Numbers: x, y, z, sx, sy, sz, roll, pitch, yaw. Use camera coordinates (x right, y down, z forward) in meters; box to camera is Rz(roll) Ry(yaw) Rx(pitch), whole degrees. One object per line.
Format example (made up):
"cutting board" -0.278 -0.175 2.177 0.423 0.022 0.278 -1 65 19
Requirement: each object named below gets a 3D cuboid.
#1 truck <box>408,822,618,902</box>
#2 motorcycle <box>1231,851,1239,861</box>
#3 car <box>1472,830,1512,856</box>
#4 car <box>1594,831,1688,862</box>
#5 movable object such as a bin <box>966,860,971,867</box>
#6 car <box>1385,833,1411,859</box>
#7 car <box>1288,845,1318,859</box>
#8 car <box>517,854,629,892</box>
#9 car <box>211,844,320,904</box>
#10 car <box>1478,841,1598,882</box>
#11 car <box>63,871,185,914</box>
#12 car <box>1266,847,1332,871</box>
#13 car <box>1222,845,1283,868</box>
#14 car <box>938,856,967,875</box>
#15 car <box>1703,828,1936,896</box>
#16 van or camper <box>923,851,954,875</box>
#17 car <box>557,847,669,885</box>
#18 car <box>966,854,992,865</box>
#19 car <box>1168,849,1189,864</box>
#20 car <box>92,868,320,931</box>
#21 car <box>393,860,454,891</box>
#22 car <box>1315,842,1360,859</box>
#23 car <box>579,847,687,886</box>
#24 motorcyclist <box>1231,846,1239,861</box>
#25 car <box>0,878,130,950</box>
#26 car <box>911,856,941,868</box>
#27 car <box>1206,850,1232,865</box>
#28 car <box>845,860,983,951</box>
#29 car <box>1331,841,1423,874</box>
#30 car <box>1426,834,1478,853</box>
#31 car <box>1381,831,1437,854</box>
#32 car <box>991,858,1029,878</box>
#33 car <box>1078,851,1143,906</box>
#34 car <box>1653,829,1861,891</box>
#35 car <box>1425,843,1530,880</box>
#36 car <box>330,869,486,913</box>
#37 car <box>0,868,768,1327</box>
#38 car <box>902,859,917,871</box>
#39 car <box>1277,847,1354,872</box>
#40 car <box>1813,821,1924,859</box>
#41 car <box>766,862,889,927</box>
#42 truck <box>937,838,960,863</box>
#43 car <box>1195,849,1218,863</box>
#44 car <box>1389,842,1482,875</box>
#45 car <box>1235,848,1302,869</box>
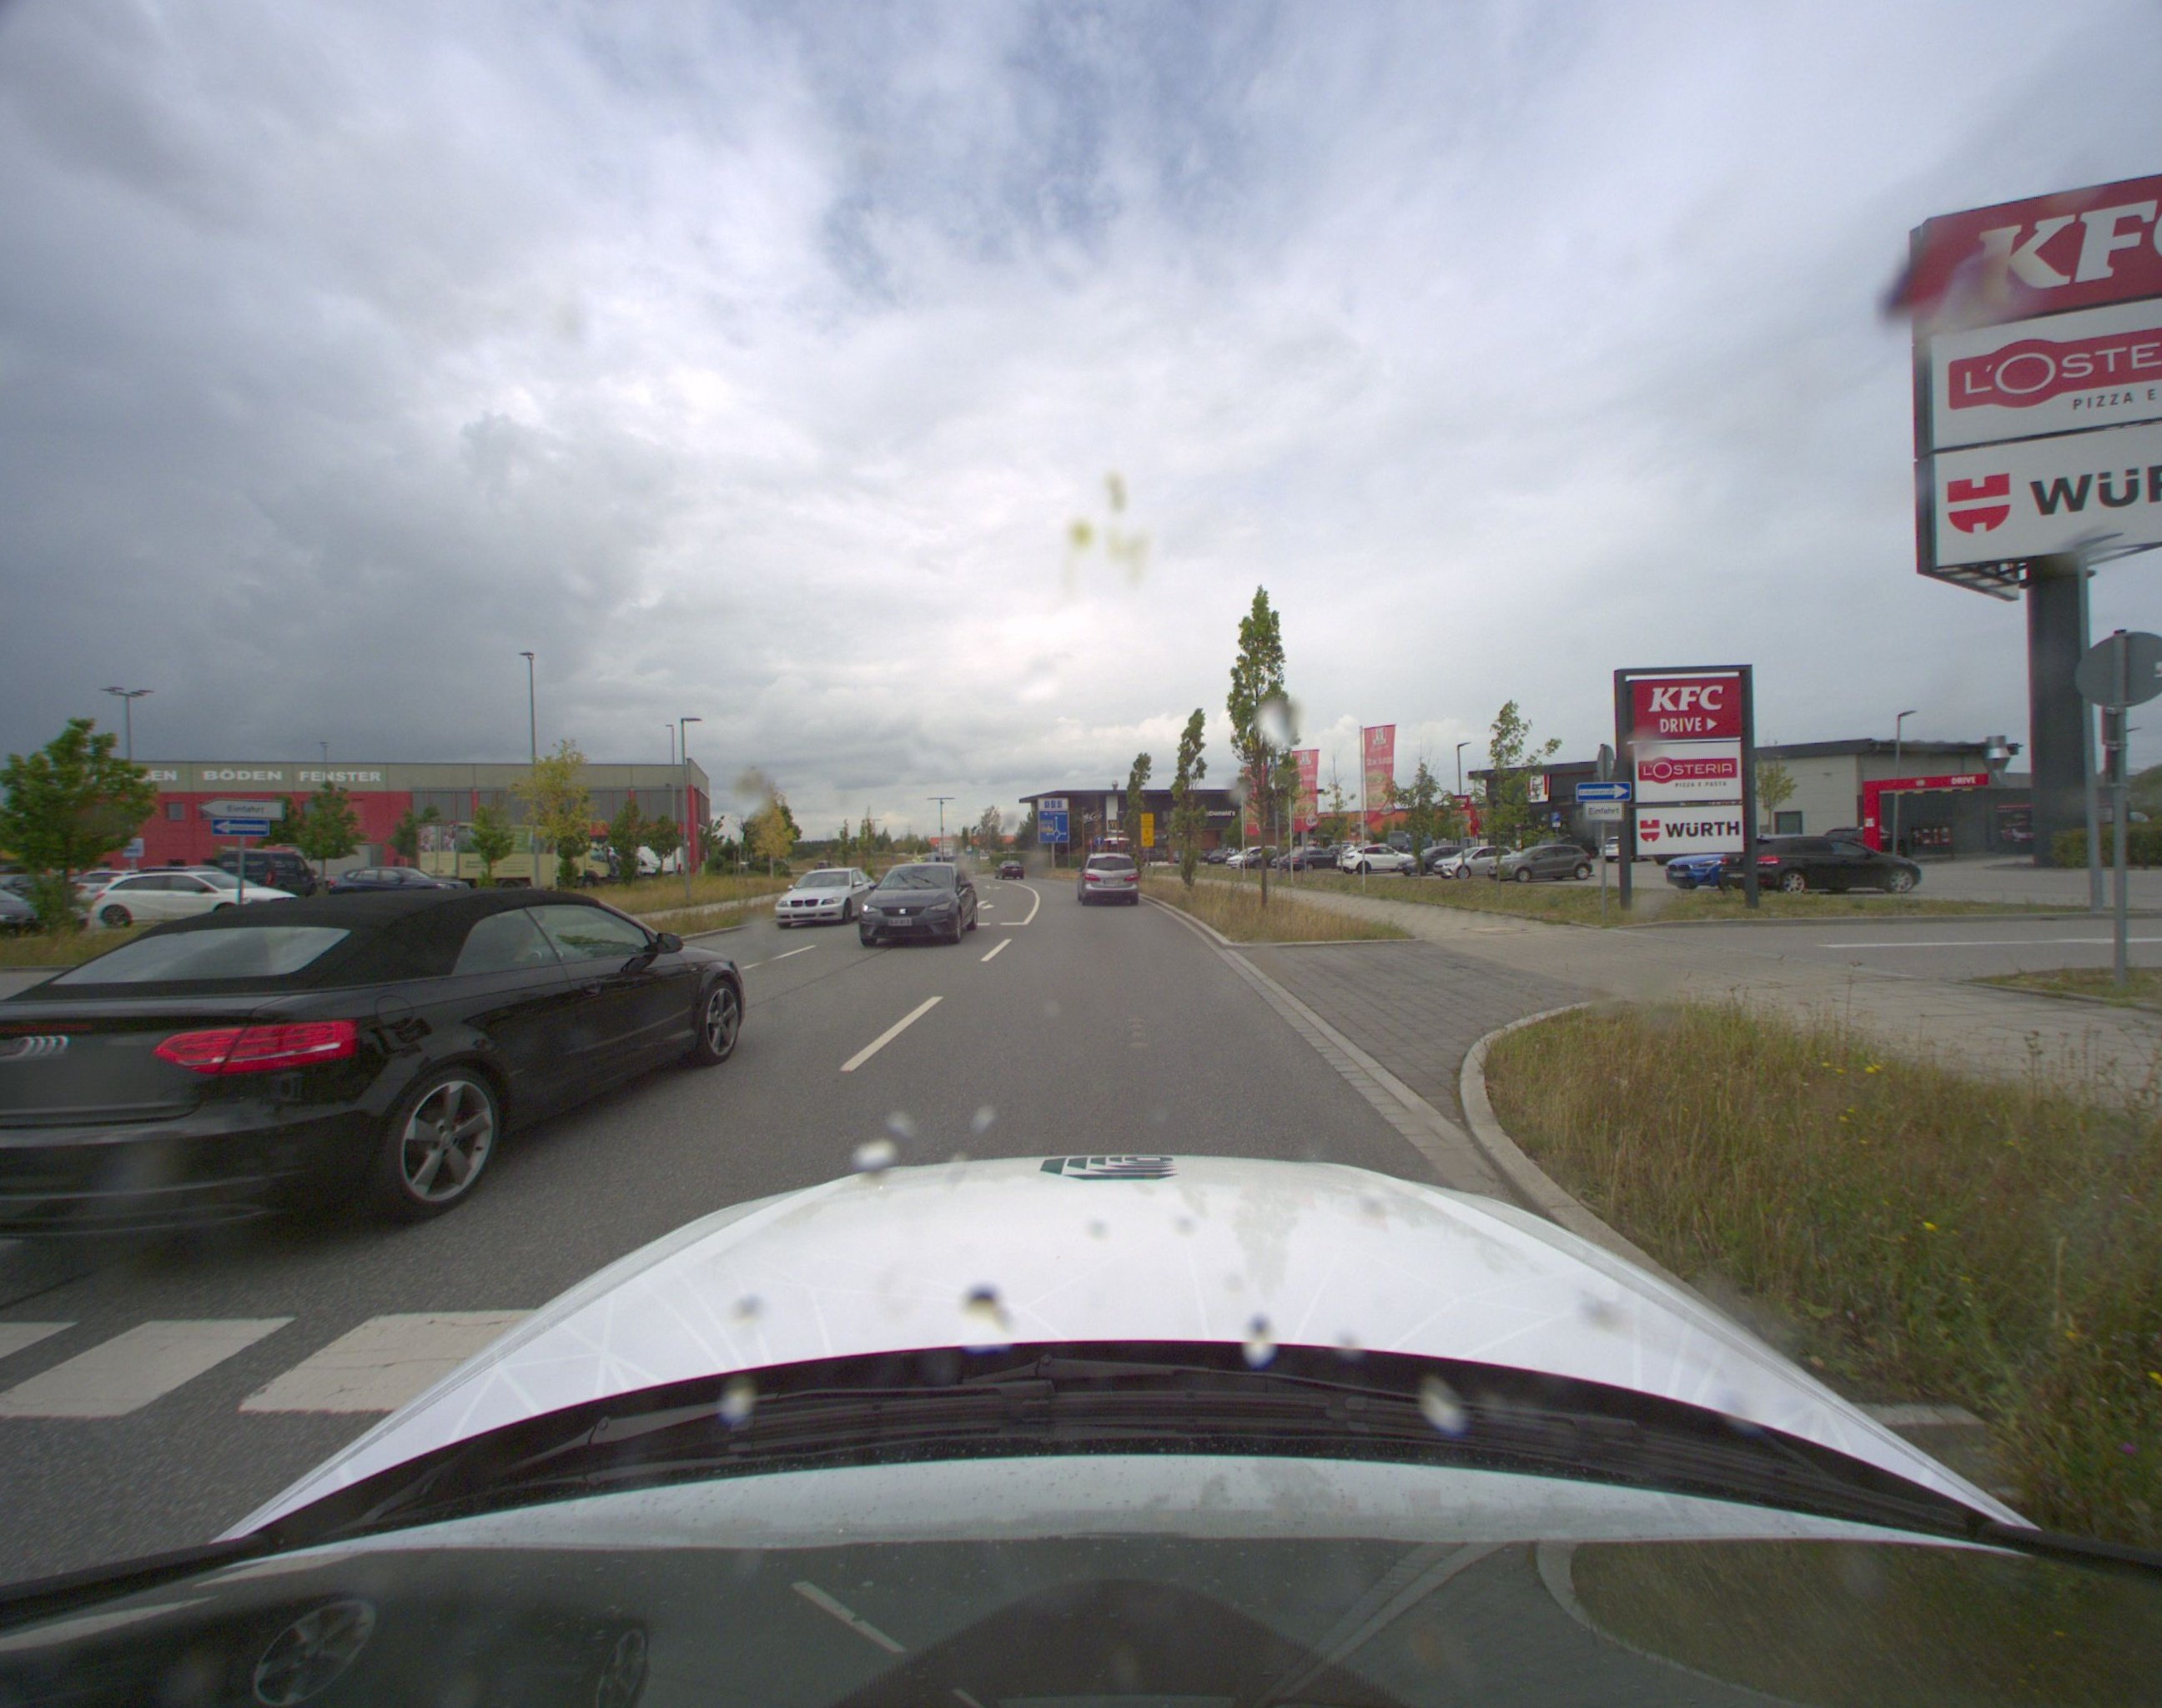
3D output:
"truck" -27.816 0.370 40.515 2.826 3.541 8.469 -1 0 18
"motorcycle" 19.014 0.235 100.499 0.850 1.244 1.975 -1 0 16
"car" 38.720 -1.046 76.905 2.507 2.351 5.719 -2 0 18
"car" 31.710 -0.441 46.129 4.576 1.519 2.067 -3 0 -20
"movable object such as a bin" -12.978 1.141 93.782 0.458 0.798 0.377 -1 -1 -23
"car" 32.166 -0.827 82.789 2.255 2.501 7.366 -2 0 20
"car" 28.518 -0.272 104.630 4.023 1.722 1.975 -1 0 -45
"car" -29.075 1.054 46.762 4.905 1.990 2.170 -2 0 -12
"car" -39.717 0.914 39.834 2.068 2.690 5.103 -2 0 -25
"car" 18.287 0.290 32.677 3.749 1.494 1.888 -2 0 -3
"car" -44.563 1.736 38.050 2.002 1.729 3.971 -2 0 -22
"car" 15.281 0.349 57.130 4.093 1.438 1.932 -2 0 -17
"car" 13.542 0.161 64.365 4.363 1.639 1.924 -2 0 -21
"car" -13.220 1.160 83.479 2.065 1.826 4.754 -2 0 -19
"car" 18.276 0.194 20.322 3.972 1.494 1.983 -2 0 2
"van or camper" -16.173 1.017 92.256 2.313 2.506 5.166 -1 0 -23
"car" -30.949 0.754 54.145 6.089 2.307 2.195 -2 0 -20
"car" -18.522 0.988 147.665 4.605 1.757 1.992 -2 0 -12
"car" 11.817 0.270 98.456 1.979 1.717 4.016 -1 0 15
"car" -25.916 1.312 24.294 4.246 1.559 1.983 -2 0 -9
"car" -46.361 1.462 57.522 2.001 2.033 4.605 -2 0 -21
"car" 28.800 -0.382 91.404 4.679 1.656 2.010 -2 0 19
"car" -32.294 0.853 58.960 6.427 2.598 2.229 -2 0 -19
"motorcyclist" 19.002 -0.072 100.515 0.954 1.832 0.849 -1 0 16
"car" -25.540 1.392 19.019 4.228 1.513 2.046 -1 0 0
"car" -23.472 1.206 123.460 1.974 1.515 4.025 -2 0 42
"car" 12.820 0.313 75.602 1.797 1.313 3.867 -2 0 17
"car" -2.990 0.854 15.479 1.825 1.420 4.242 -1 0 -2
"car" 17.154 0.194 47.327 4.562 1.645 2.081 -3 0 -10
"car" 39.515 -1.121 86.872 1.875 1.816 4.636 -2 0 -39
"car" 39.445 -1.331 97.996 5.971 2.528 2.295 -2 0 28
"car" -5.370 1.014 60.815 1.850 1.418 4.198 -2 0 -19
"car" 0.869 0.733 26.008 1.726 1.600 3.802 -1 0 -4
"car" 18.912 0.161 22.917 4.249 1.520 1.965 -2 0 -1
"car" 18.199 0.337 37.489 3.855 1.481 1.899 -3 0 -5
"car" -26.215 1.421 31.872 4.226 1.435 1.994 -2 0 -6
"car" -3.580 0.847 4.778 1.763 1.438 4.231 -2 -1 1
"car" -23.538 1.531 111.848 1.995 1.515 3.984 -2 0 -11
"car" 15.587 0.329 54.173 4.525 1.469 2.022 -2 0 -15
"car" 35.857 -0.641 37.076 4.579 1.519 1.883 -3 0 -22
"car" -6.639 0.997 21.905 1.830 1.417 4.499 -3 0 0
"truck" -22.255 -0.575 137.247 3.129 3.906 9.315 -2 0 -6
"car" 15.464 0.230 100.319 2.098 1.717 4.251 -1 0 19
"car" 18.416 0.247 42.427 3.982 1.485 1.936 -2 -1 -7
"car" 14.261 0.327 61.960 4.480 1.436 2.061 -2 0 -18
